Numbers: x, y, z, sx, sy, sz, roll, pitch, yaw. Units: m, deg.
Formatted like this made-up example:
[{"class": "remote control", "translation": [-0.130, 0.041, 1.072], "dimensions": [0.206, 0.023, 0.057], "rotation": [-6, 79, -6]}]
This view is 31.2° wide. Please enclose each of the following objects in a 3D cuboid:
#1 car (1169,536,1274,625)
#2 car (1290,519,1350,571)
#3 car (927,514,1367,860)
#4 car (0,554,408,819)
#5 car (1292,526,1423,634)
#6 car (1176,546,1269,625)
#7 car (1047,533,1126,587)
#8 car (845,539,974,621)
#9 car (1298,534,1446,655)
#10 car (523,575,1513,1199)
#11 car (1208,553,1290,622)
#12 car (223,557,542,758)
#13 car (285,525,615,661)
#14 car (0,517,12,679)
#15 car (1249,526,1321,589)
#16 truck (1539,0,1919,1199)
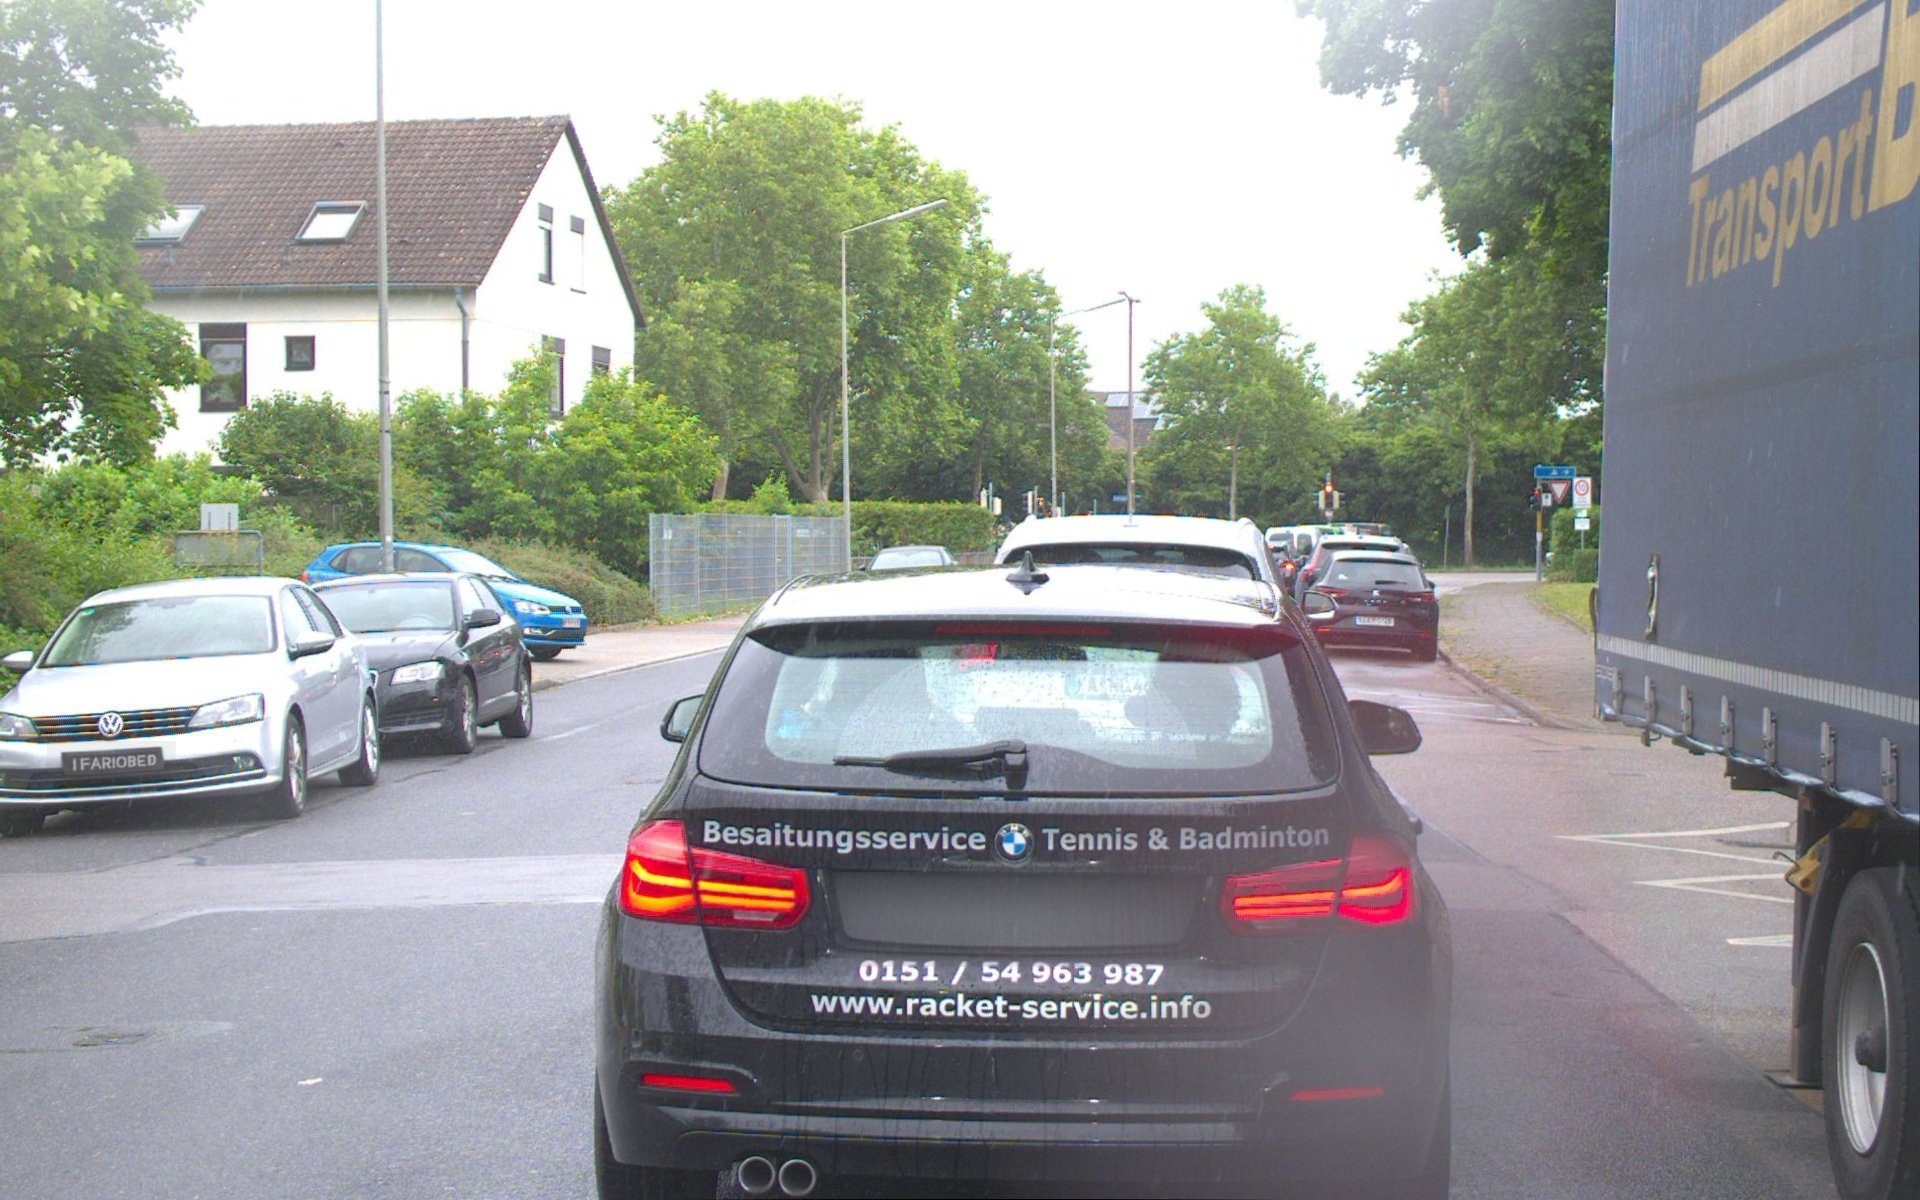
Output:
[{"class": "car", "translation": [4.903, -0.368, 64.101], "dimensions": [1.805, 1.581, 3.999], "rotation": [1, 1, 6]}, {"class": "car", "translation": [11.106, -1.707, 106.207], "dimensions": [1.804, 1.581, 3.999], "rotation": [0, 1, 6]}, {"class": "car", "translation": [0.850, 0.383, 17.890], "dimensions": [1.804, 1.581, 4.001], "rotation": [1, 1, -4]}, {"class": "car", "translation": [-4.673, 0.453, 21.306], "dimensions": [1.705, 1.362, 4.601], "rotation": [-2, 1, 0]}, {"class": "car", "translation": [6.094, -0.324, 53.060], "dimensions": [1.804, 1.581, 4.000], "rotation": [1, 1, 4]}, {"class": "car", "translation": [5.507, -0.320, 71.904], "dimensions": [1.805, 1.581, 3.999], "rotation": [1, 1, 6]}, {"class": "car", "translation": [3.561, -1.129, 96.125], "dimensions": [1.706, 1.362, 3.837], "rotation": [-2, 1, 9]}, {"class": "car", "translation": [-0.903, -0.390, 63.543], "dimensions": [1.706, 1.362, 3.837], "rotation": [-2, 1, 9]}, {"class": "car", "translation": [5.653, -0.095, 47.498], "dimensions": [1.804, 1.581, 4.000], "rotation": [1, 1, 4]}, {"class": "car", "translation": [-0.017, 0.654, 8.289], "dimensions": [1.804, 1.390, 4.001], "rotation": [1, 1, -4]}, {"class": "car", "translation": [6.854, -0.305, 81.265], "dimensions": [1.805, 1.581, 3.999], "rotation": [1, 1, 6]}, {"class": "car", "translation": [-4.446, 0.397, 27.007], "dimensions": [1.705, 1.362, 3.838], "rotation": [-2, 1, 2]}, {"class": "car", "translation": [-6.633, -0.099, 44.797], "dimensions": [3.828, 1.589, 1.710], "rotation": [-2, 1, 18]}, {"class": "car", "translation": [-11.097, -0.008, 32.064], "dimensions": [3.987, 1.535, 1.911], "rotation": [0, 1, -1]}, {"class": "car", "translation": [8.369, -1.105, 88.442], "dimensions": [1.804, 1.581, 3.999], "rotation": [0, 1, 6]}, {"class": "truck", "translation": [3.227, -0.478, 7.261], "dimensions": [2.741, 3.598, 7.750], "rotation": [2, 1, 1]}]
